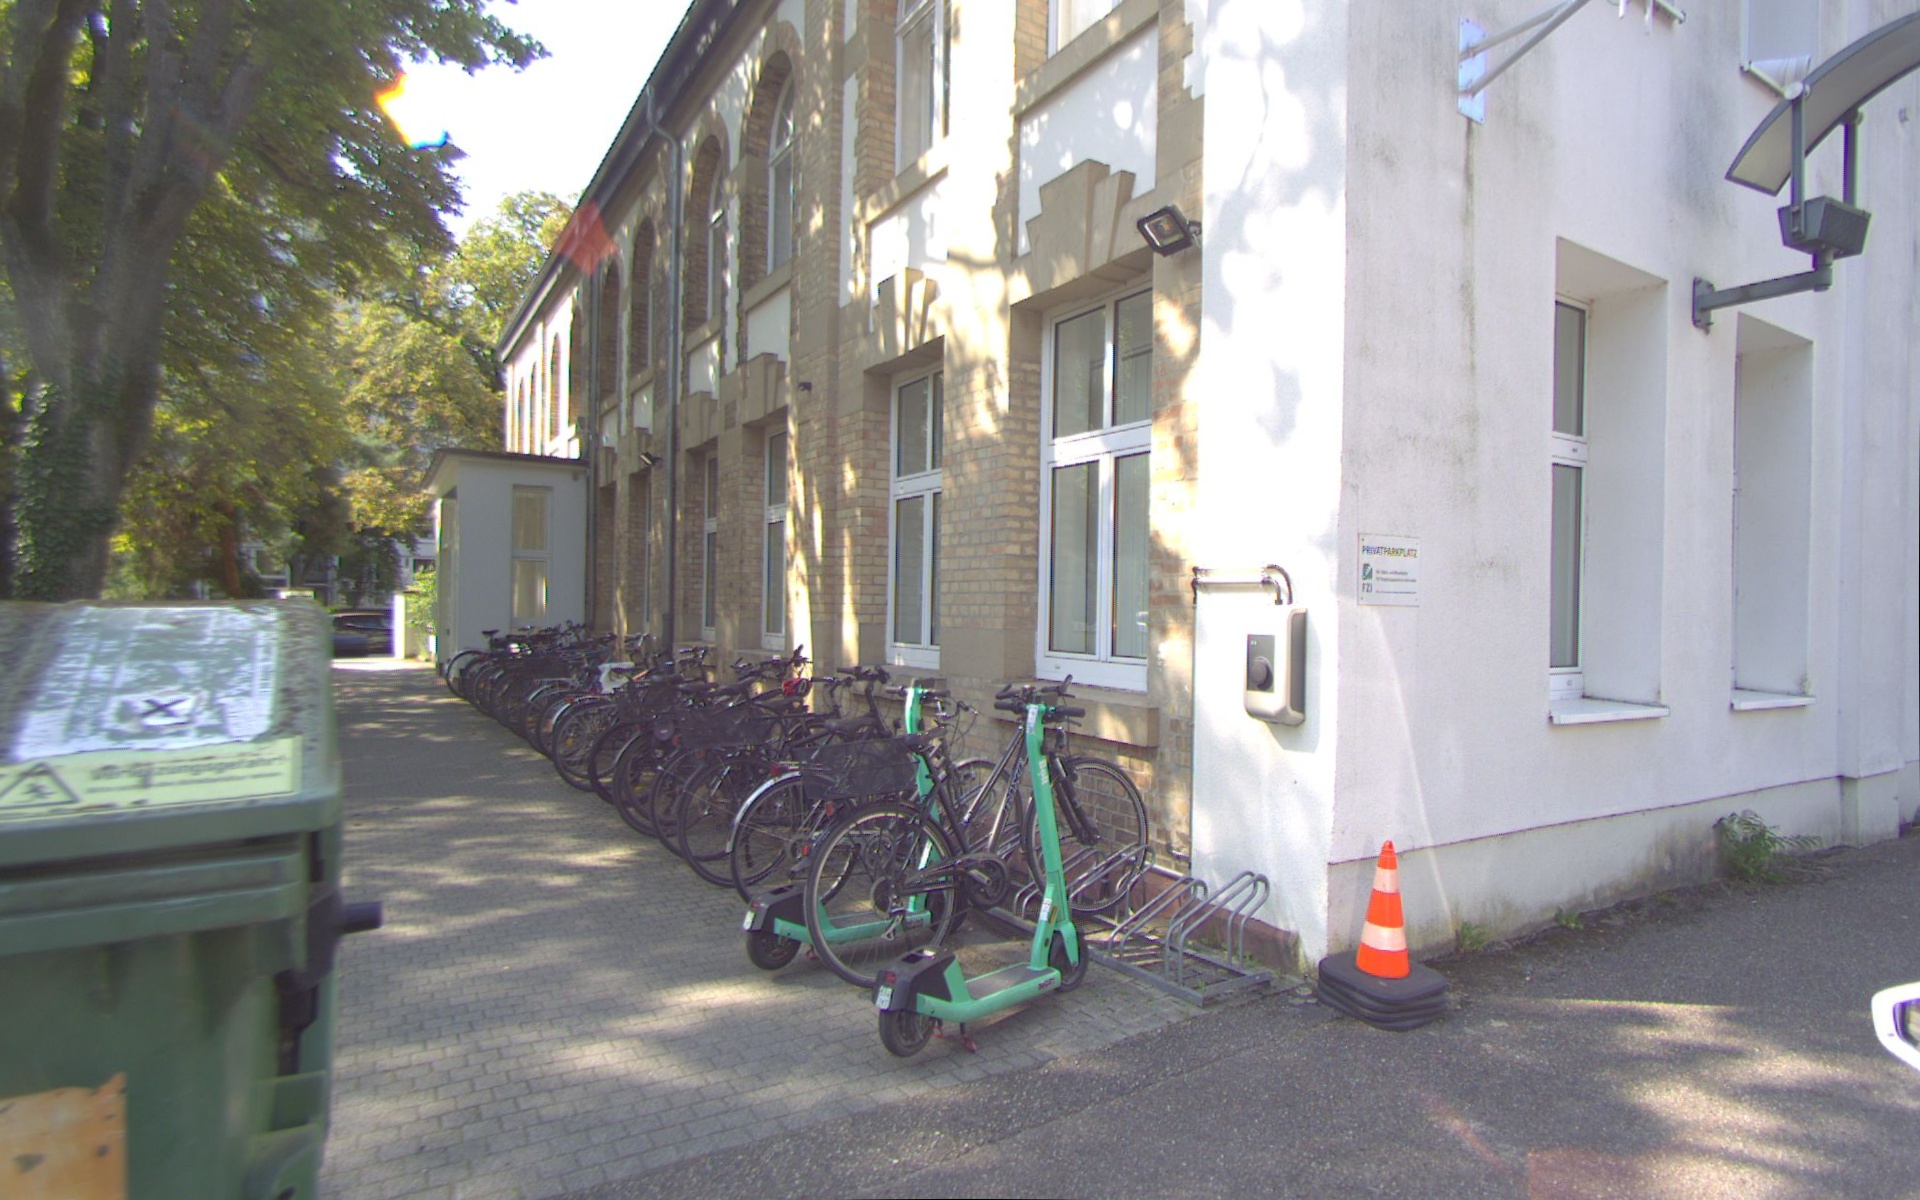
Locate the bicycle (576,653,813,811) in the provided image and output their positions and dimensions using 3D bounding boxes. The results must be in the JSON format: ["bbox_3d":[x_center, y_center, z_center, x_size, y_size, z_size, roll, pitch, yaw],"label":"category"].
[{"bbox_3d":[-2.001,0.964,7.720,1.728,1.098,0.322,2,0,-34],"label":"bicycle"}]

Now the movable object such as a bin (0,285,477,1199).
[{"bbox_3d":[-1.380,0.603,1.057,1.364,1.728,1.172,2,0,-36],"label":"movable object such as a bin"}]

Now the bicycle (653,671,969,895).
[{"bbox_3d":[-0.791,0.973,5.733,1.800,1.094,0.322,2,0,-34],"label":"bicycle"}]

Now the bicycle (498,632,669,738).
[{"bbox_3d":[-4.136,0.916,11.121,1.728,1.098,0.322,2,0,-34],"label":"bicycle"}]

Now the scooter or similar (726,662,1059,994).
[{"bbox_3d":[-0.255,0.920,4.448,1.480,1.256,0.322,2,0,-34],"label":"scooter or similar"}]

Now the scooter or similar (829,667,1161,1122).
[{"bbox_3d":[0.205,0.918,3.677,0.380,1.279,1.489,2,0,38],"label":"scooter or similar"}]

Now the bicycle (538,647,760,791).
[{"bbox_3d":[-2.554,0.951,8.376,1.728,1.098,0.322,2,0,-34],"label":"bicycle"}]

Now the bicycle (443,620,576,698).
[{"bbox_3d":[-6.608,0.859,14.786,1.728,1.098,0.322,2,0,-34],"label":"bicycle"}]

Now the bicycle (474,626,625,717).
[{"bbox_3d":[-5.193,0.892,12.774,1.728,1.098,0.322,2,0,-34],"label":"bicycle"}]

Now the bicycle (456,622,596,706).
[{"bbox_3d":[-5.961,0.874,13.856,1.728,1.098,0.322,2,0,-34],"label":"bicycle"}]

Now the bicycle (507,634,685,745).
[{"bbox_3d":[-3.825,0.923,10.648,1.728,1.098,0.322,2,0,-34],"label":"bicycle"}]

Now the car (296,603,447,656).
[{"bbox_3d":[-18.619,0.900,31.938,1.699,1.564,3.811,1,0,31],"label":"car"}]

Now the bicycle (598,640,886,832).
[{"bbox_3d":[-1.423,0.866,6.817,1.896,1.164,0.322,2,0,-34],"label":"bicycle"}]

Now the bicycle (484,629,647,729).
[{"bbox_3d":[-4.605,0.905,11.801,1.728,1.098,0.322,2,0,-34],"label":"bicycle"}]

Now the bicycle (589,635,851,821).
[{"bbox_3d":[-1.674,0.867,7.205,1.806,1.204,0.322,2,0,-34],"label":"bicycle"}]

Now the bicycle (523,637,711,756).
[{"bbox_3d":[-3.391,0.933,10.017,1.728,1.098,0.322,2,0,-34],"label":"bicycle"}]

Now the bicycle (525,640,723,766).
[{"bbox_3d":[-3.139,0.938,9.493,1.728,1.098,0.322,2,0,-34],"label":"bicycle"}]

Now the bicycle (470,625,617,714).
[{"bbox_3d":[-5.413,0.887,13.121,1.728,1.098,0.322,2,0,-34],"label":"bicycle"}]

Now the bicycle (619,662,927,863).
[{"bbox_3d":[-1.109,0.947,6.264,1.892,1.089,0.322,2,0,-34],"label":"bicycle"}]

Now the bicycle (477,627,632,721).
[{"bbox_3d":[-4.978,0.897,12.401,1.728,1.098,0.322,2,0,-34],"label":"bicycle"}]

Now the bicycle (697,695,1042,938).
[{"bbox_3d":[-0.397,1.020,5.088,1.782,1.010,0.322,2,0,-34],"label":"bicycle"}]

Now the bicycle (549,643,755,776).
[{"bbox_3d":[-2.733,0.948,9.033,1.728,1.098,0.322,2,0,-34],"label":"bicycle"}]

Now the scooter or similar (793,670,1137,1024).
[{"bbox_3d":[0.067,0.933,4.189,1.480,1.247,0.322,2,0,-34],"label":"scooter or similar"}]

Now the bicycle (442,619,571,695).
[{"bbox_3d":[-6.818,0.855,15.149,1.728,1.098,0.322,2,0,-34],"label":"bicycle"}]
